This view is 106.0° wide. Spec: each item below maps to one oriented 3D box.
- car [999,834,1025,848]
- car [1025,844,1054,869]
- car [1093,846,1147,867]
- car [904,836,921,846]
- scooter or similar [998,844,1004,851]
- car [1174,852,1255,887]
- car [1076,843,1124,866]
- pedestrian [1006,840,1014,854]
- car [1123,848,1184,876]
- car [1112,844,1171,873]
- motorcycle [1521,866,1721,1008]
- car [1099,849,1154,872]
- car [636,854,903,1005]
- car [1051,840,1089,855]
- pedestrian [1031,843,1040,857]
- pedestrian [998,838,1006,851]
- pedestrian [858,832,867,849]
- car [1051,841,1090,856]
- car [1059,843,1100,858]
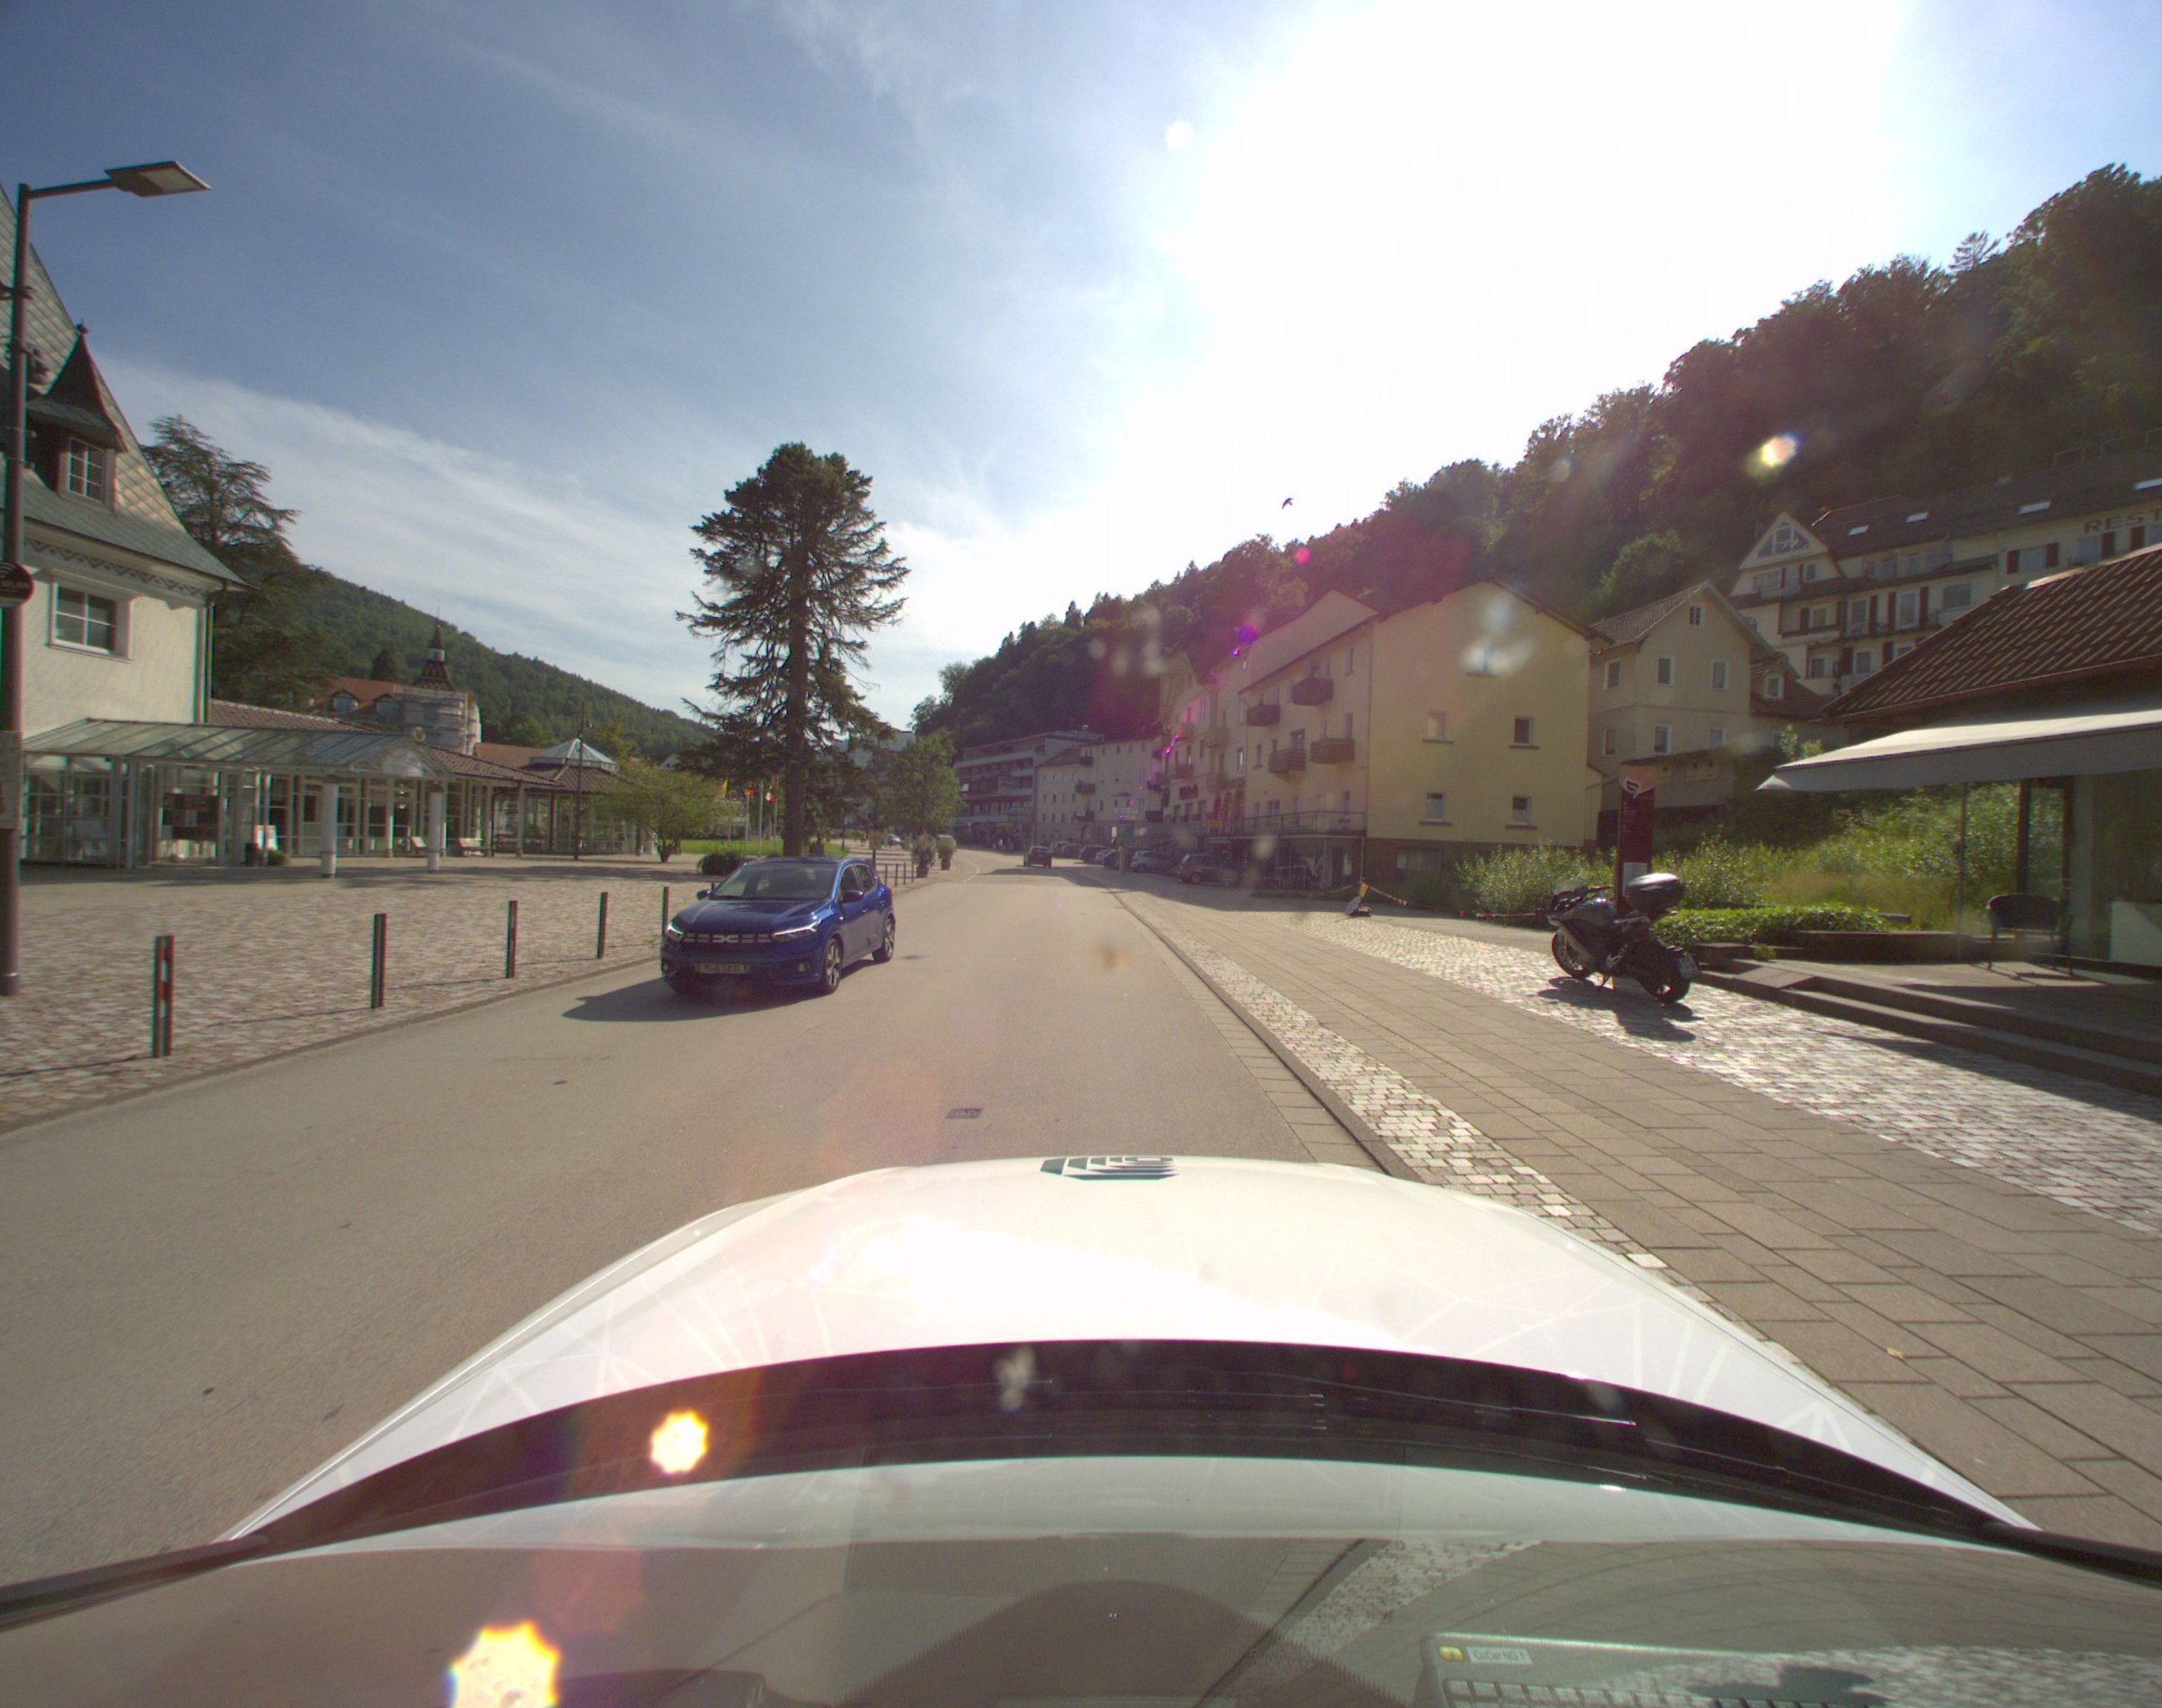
[{"bbox_3d":[-9.464,-1.763,111.464,3.180,1.662,1.581,2,1,-27],"label":"car"},{"bbox_3d":[-3.141,0.150,61.010,1.726,1.574,3.743,3,2,-9],"label":"car"},{"bbox_3d":[3.318,0.236,69.078,4.348,1.461,1.770,4,-1,-4],"label":"car"},{"bbox_3d":[-31.534,-2.451,152.337,1.687,1.620,3.962,3,1,-31],"label":"car"},{"bbox_3d":[-10.006,-0.817,102.099,0.599,0.950,0.470,3,0,-29],"label":"scooter or similar"},{"bbox_3d":[7.124,0.806,43.534,3.858,1.554,1.755,4,0,-9],"label":"car"},{"bbox_3d":[1.692,0.055,74.010,4.079,1.666,1.769,5,0,-6],"label":"car"},{"bbox_3d":[-8.898,-0.864,101.786,0.673,1.728,0.701,2,0,-29],"label":"pedestrian"},{"bbox_3d":[5.088,0.537,57.214,3.905,1.589,1.771,5,1,-7],"label":"car"},{"bbox_3d":[4.438,0.327,59.937,3.905,1.804,1.854,5,0,-6],"label":"car"},{"bbox_3d":[5.740,0.808,8.860,0.695,1.296,2.212,-1,0,0],"label":"motorcycle"},{"bbox_3d":[3.441,0.472,62.529,3.905,1.460,1.732,4,0,-6],"label":"car"},{"bbox_3d":[-3.546,0.749,10.169,1.736,1.462,4.186,0,0,0],"label":"car"},{"bbox_3d":[-1.232,-0.728,90.769,3.882,1.612,1.758,-1,3,-27],"label":"car"},{"bbox_3d":[-4.863,-0.442,87.587,0.740,1.442,0.626,0,1,-37],"label":"pedestrian"},{"bbox_3d":[-9.914,-1.135,101.951,0.761,1.593,0.622,2,0,-29],"label":"pedestrian"},{"bbox_3d":[-24.682,-1.509,91.967,0.871,1.815,0.685,2,0,-28],"label":"pedestrian"},{"bbox_3d":[-1.121,-0.608,88.679,3.882,1.549,1.758,-1,3,-27],"label":"car"},{"bbox_3d":[-0.169,-0.377,85.720,4.031,1.516,1.758,-1,3,-27],"label":"car"}]
